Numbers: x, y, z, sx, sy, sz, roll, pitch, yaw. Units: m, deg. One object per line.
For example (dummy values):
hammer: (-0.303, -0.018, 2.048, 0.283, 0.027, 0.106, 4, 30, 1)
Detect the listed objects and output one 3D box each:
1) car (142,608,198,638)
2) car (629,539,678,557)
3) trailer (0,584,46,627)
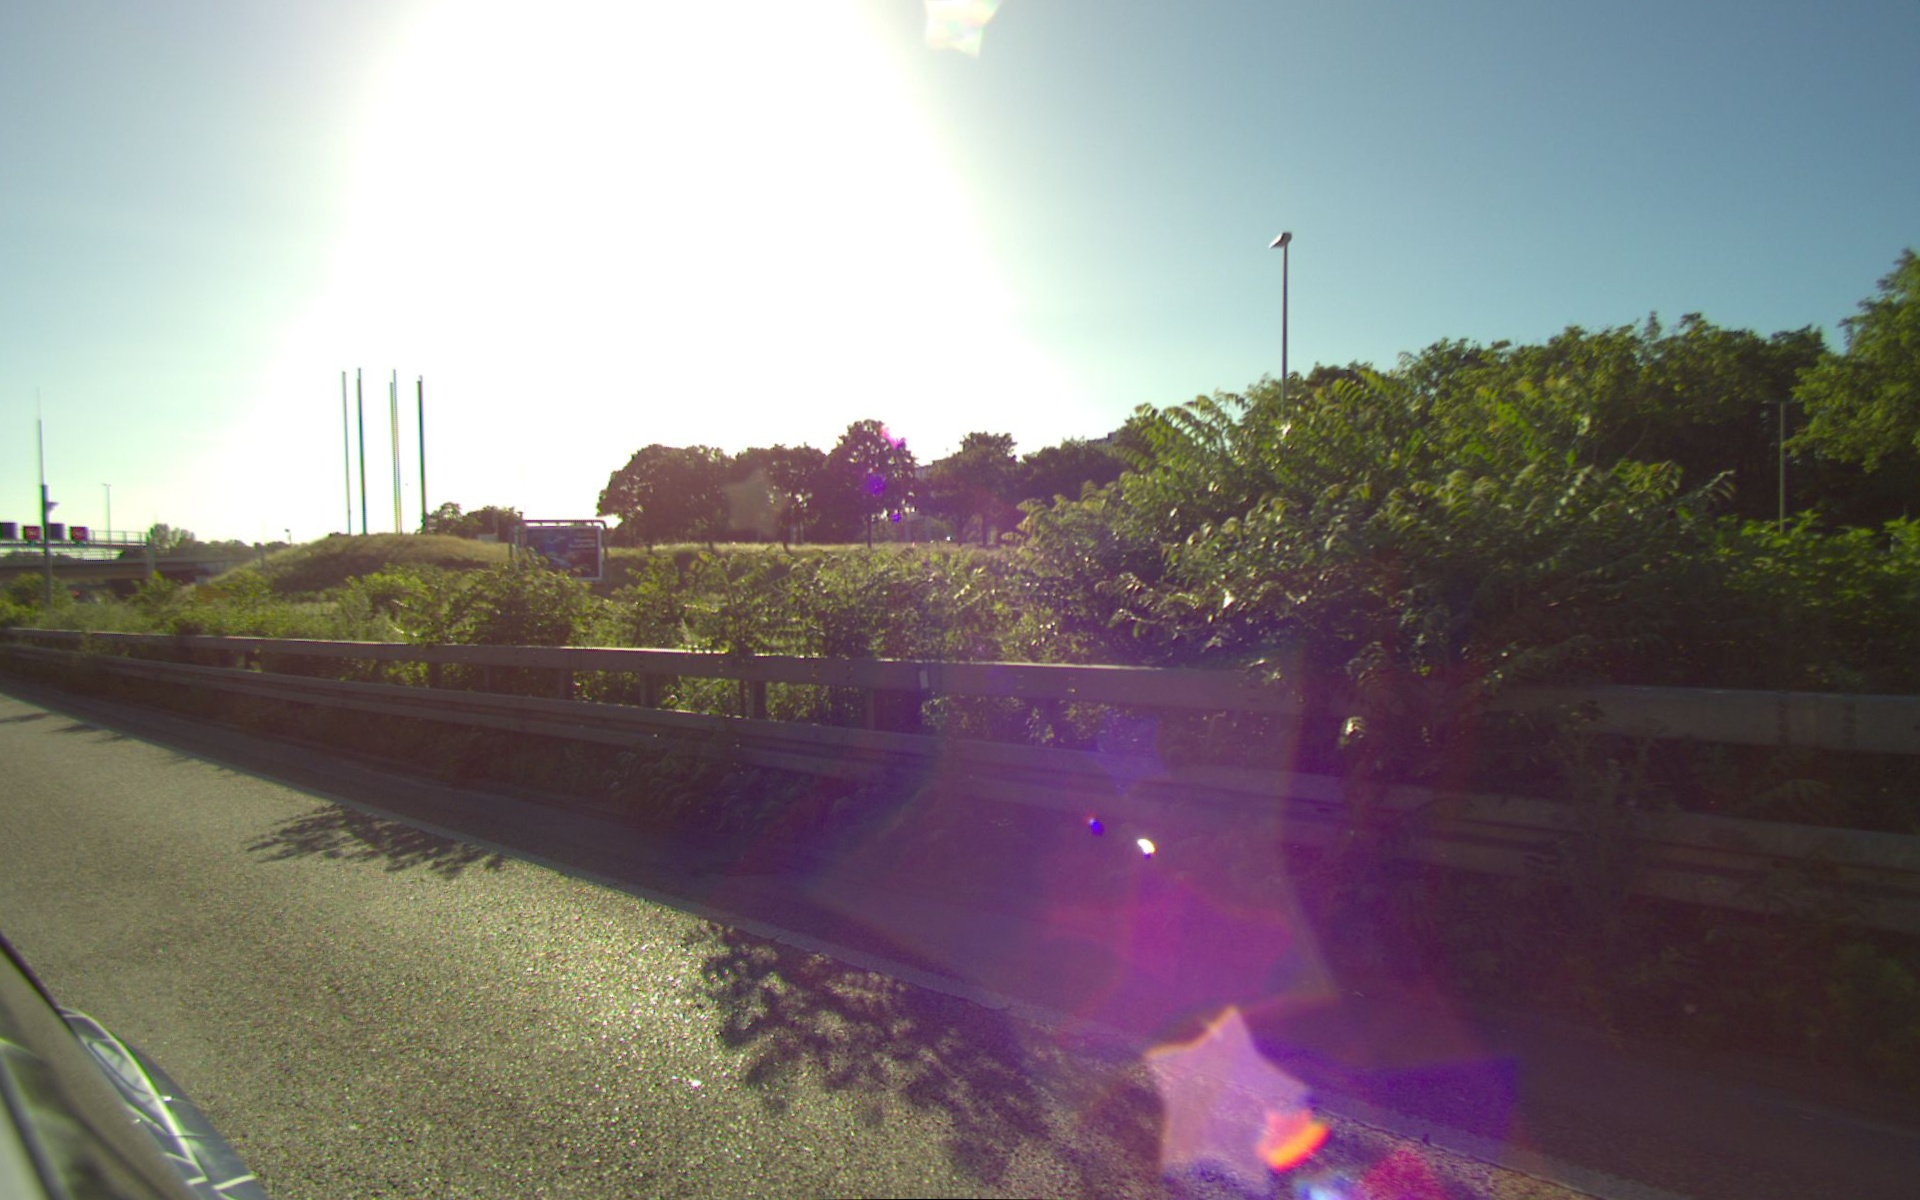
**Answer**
car: (-44.908, 1.297, 57.517, 3.999, 1.573, 1.822, -1, 0, 42)
car: (-40.050, -6.807, 132.267, 6.060, 2.029, 2.528, -1, 0, 25)
trailer: (-95.741, 0.615, 103.212, 10.697, 4.154, 2.620, -1, 0, 42)
